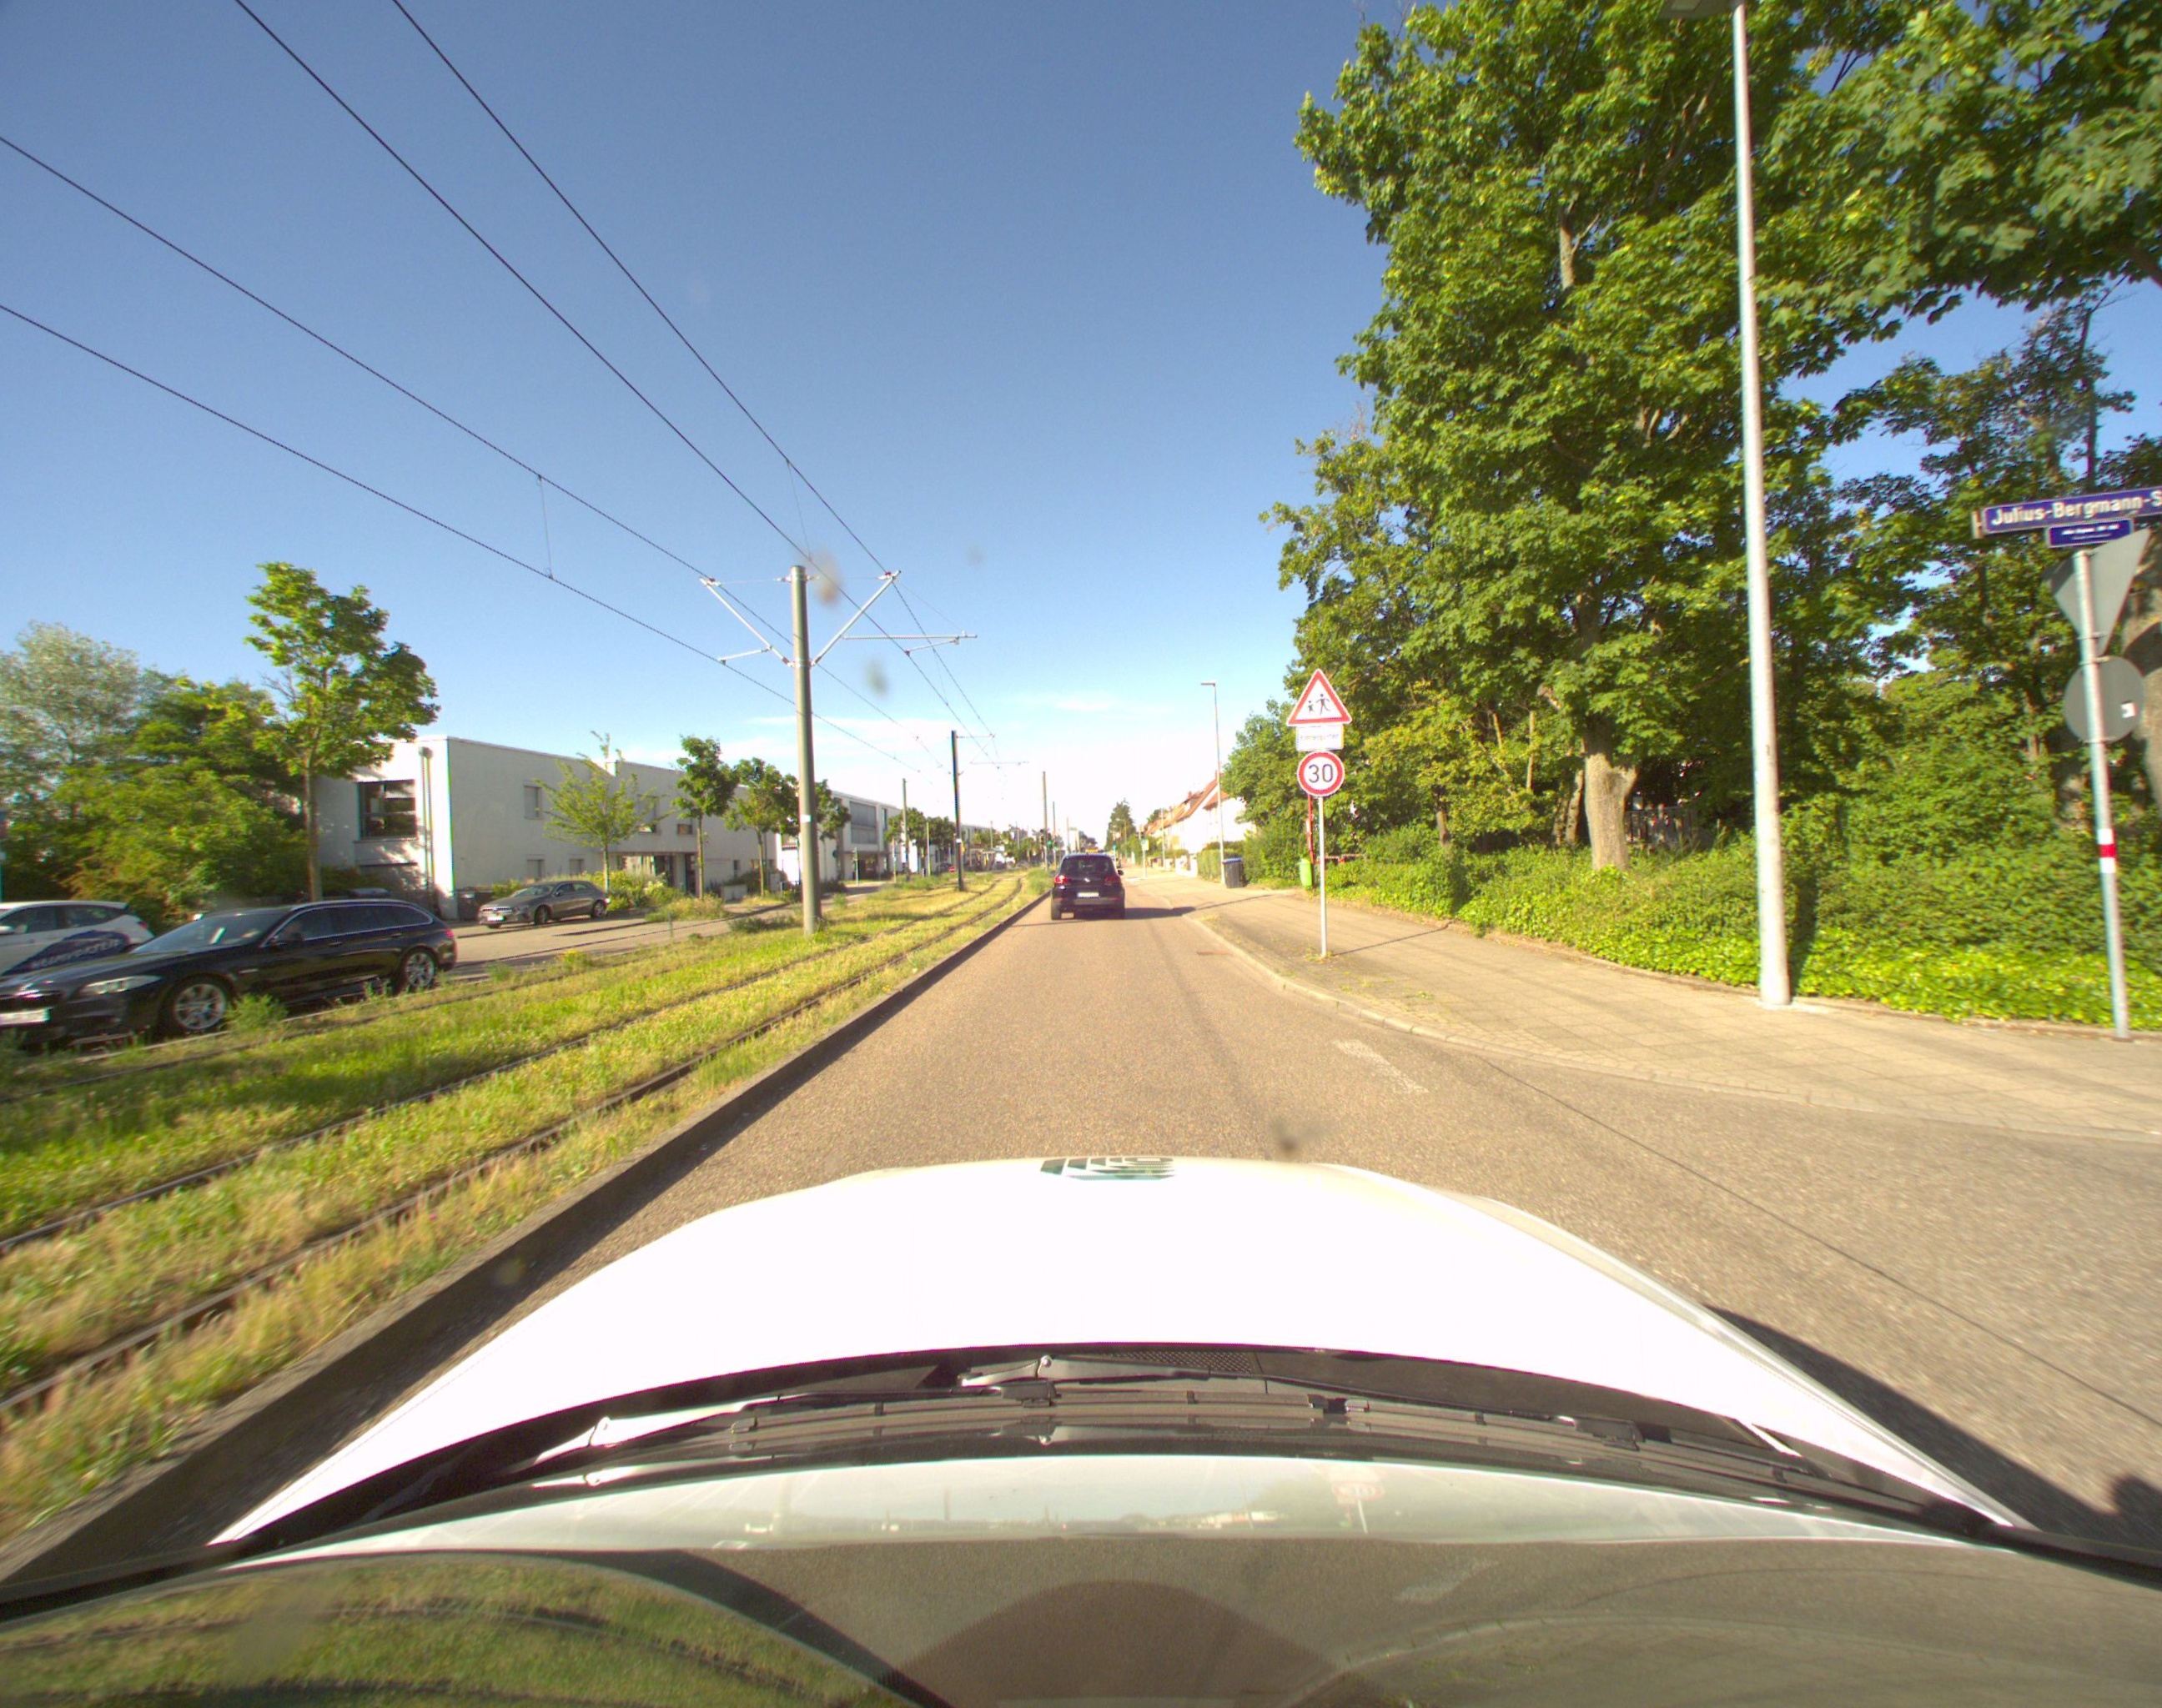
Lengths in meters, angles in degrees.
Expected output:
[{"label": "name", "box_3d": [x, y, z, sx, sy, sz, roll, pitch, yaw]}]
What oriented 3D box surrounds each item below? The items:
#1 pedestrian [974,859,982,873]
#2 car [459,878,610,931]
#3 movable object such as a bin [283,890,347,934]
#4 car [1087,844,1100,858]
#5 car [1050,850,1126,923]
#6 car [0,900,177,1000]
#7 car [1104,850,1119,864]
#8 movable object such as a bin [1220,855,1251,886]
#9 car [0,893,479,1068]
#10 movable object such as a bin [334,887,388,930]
[{"label": "pedestrian", "box_3d": [-12.656, 1.481, 99.957, 0.883, 1.587, 0.624, -3, 0, -17]}, {"label": "car", "box_3d": [-18.090, 1.607, 27.221, 1.801, 1.461, 4.324, -1, 0, 6]}, {"label": "movable object such as a bin", "box_3d": [-25.616, 1.927, 27.257, 0.660, 1.383, 1.425, -1, 0, 9]}, {"label": "car", "box_3d": [2.398, -0.501, 158.549, 2.385, 2.564, 5.532, -3, 0, 2]}, {"label": "car", "box_3d": [0.145, 0.767, 21.261, 1.770, 1.670, 3.999, -1, 0, -1]}, {"label": "car", "box_3d": [-18.475, 1.659, 14.032, 1.539, 1.491, 3.775, -1, 0, 0]}, {"label": "car", "box_3d": [3.895, 0.396, 104.321, 1.770, 1.670, 3.999, -3, 0, -1]}, {"label": "movable object such as a bin", "box_3d": [5.801, 0.607, 30.560, 0.971, 1.110, 1.172, -3, 0, 5]}, {"label": "car", "box_3d": [-10.690, 1.424, 10.716, 1.756, 1.444, 4.917, -5, 0, 0]}, {"label": "movable object such as a bin", "box_3d": [-25.439, 1.920, 28.788, 0.660, 1.433, 1.258, -1, 0, 9]}]
